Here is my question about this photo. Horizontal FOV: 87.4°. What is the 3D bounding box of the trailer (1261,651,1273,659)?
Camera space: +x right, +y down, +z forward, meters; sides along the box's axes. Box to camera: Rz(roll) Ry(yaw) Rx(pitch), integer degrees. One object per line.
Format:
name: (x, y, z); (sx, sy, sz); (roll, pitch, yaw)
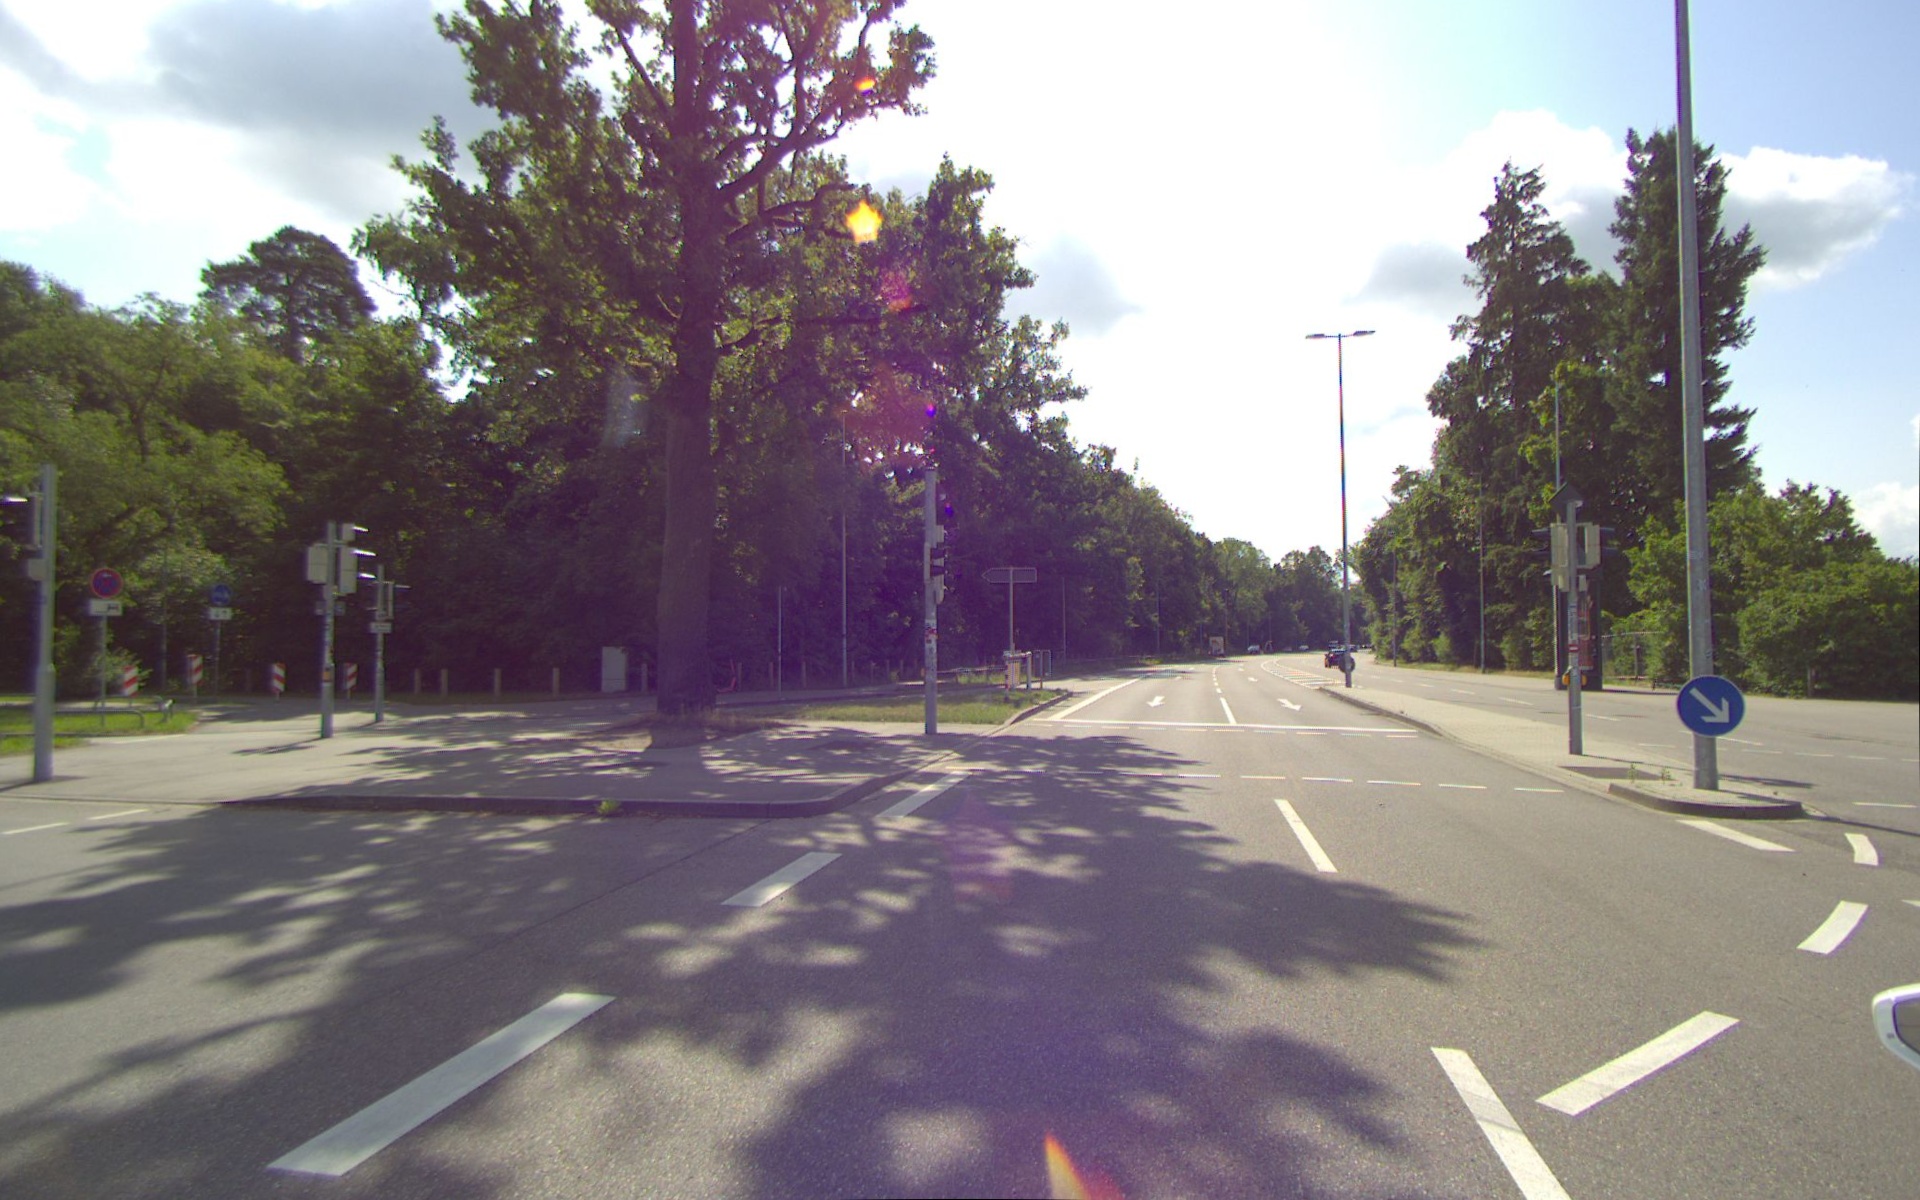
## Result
trailer: (57.607, 10.266, 188.168); (1.689, 1.372, 3.731); (0, -3, 24)

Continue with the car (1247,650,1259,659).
car: (48.872, 9.153, 167.327); (1.480, 1.465, 3.528); (0, -3, 24)

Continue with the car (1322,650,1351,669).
car: (29.331, 4.650, 78.272); (1.570, 1.396, 3.979); (0, -3, 13)

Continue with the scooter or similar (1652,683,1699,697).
scooter or similar: (25.815, 3.256, 36.272); (0.838, 0.393, 1.476); (5, -5, 11)

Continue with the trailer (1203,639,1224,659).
trailer: (30.774, 5.957, 121.884); (1.961, 2.420, 4.001); (0, -3, 20)

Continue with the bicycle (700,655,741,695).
bicycle: (-7.314, 2.285, 30.721); (0.414, 1.188, 1.226); (-1, -3, 34)
